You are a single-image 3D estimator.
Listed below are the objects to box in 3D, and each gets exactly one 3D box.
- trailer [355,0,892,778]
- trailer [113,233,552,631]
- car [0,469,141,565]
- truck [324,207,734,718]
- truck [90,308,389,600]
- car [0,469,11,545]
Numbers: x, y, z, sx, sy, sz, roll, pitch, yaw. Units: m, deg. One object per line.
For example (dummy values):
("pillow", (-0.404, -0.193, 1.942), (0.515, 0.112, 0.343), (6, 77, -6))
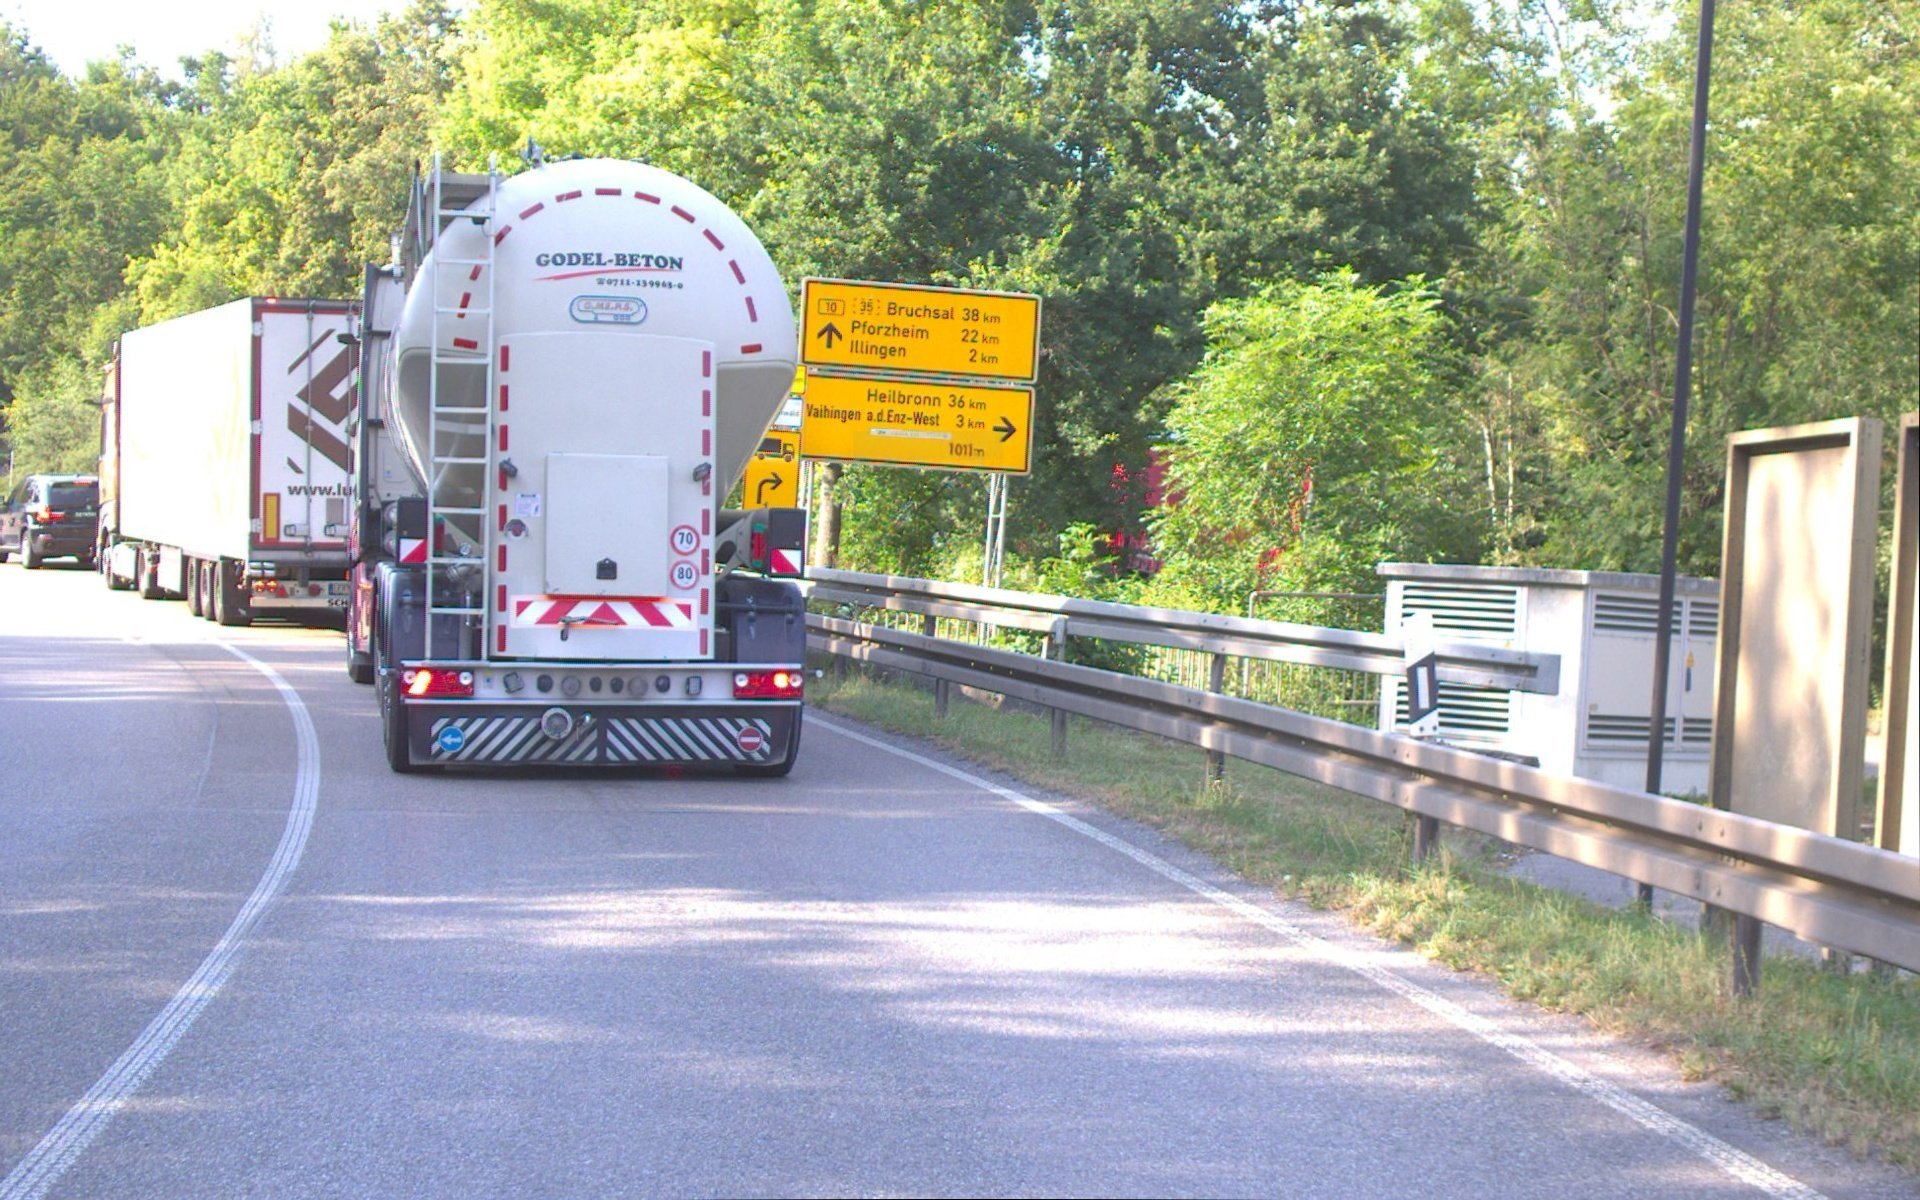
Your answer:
("trailer", (-2.806, -1.348, 25.092), (2.886, 4.439, 9.609), (3, 1, -10))
("trailer", (-8.857, -2.134, 46.567), (3.544, 4.497, 12.988), (2, 1, -20))
("car", (-16.705, -1.557, 63.623), (1.867, 1.622, 4.001), (2, 1, -30))
("truck", (-4.049, -1.191, 31.098), (2.823, 4.021, 5.896), (3, 1, -14))
("truck", (-11.223, -2.197, 53.044), (3.449, 4.072, 6.493), (2, 1, -20))
("car", (-21.463, -1.985, 72.258), (1.867, 1.559, 4.000), (-1, 2, -32))
